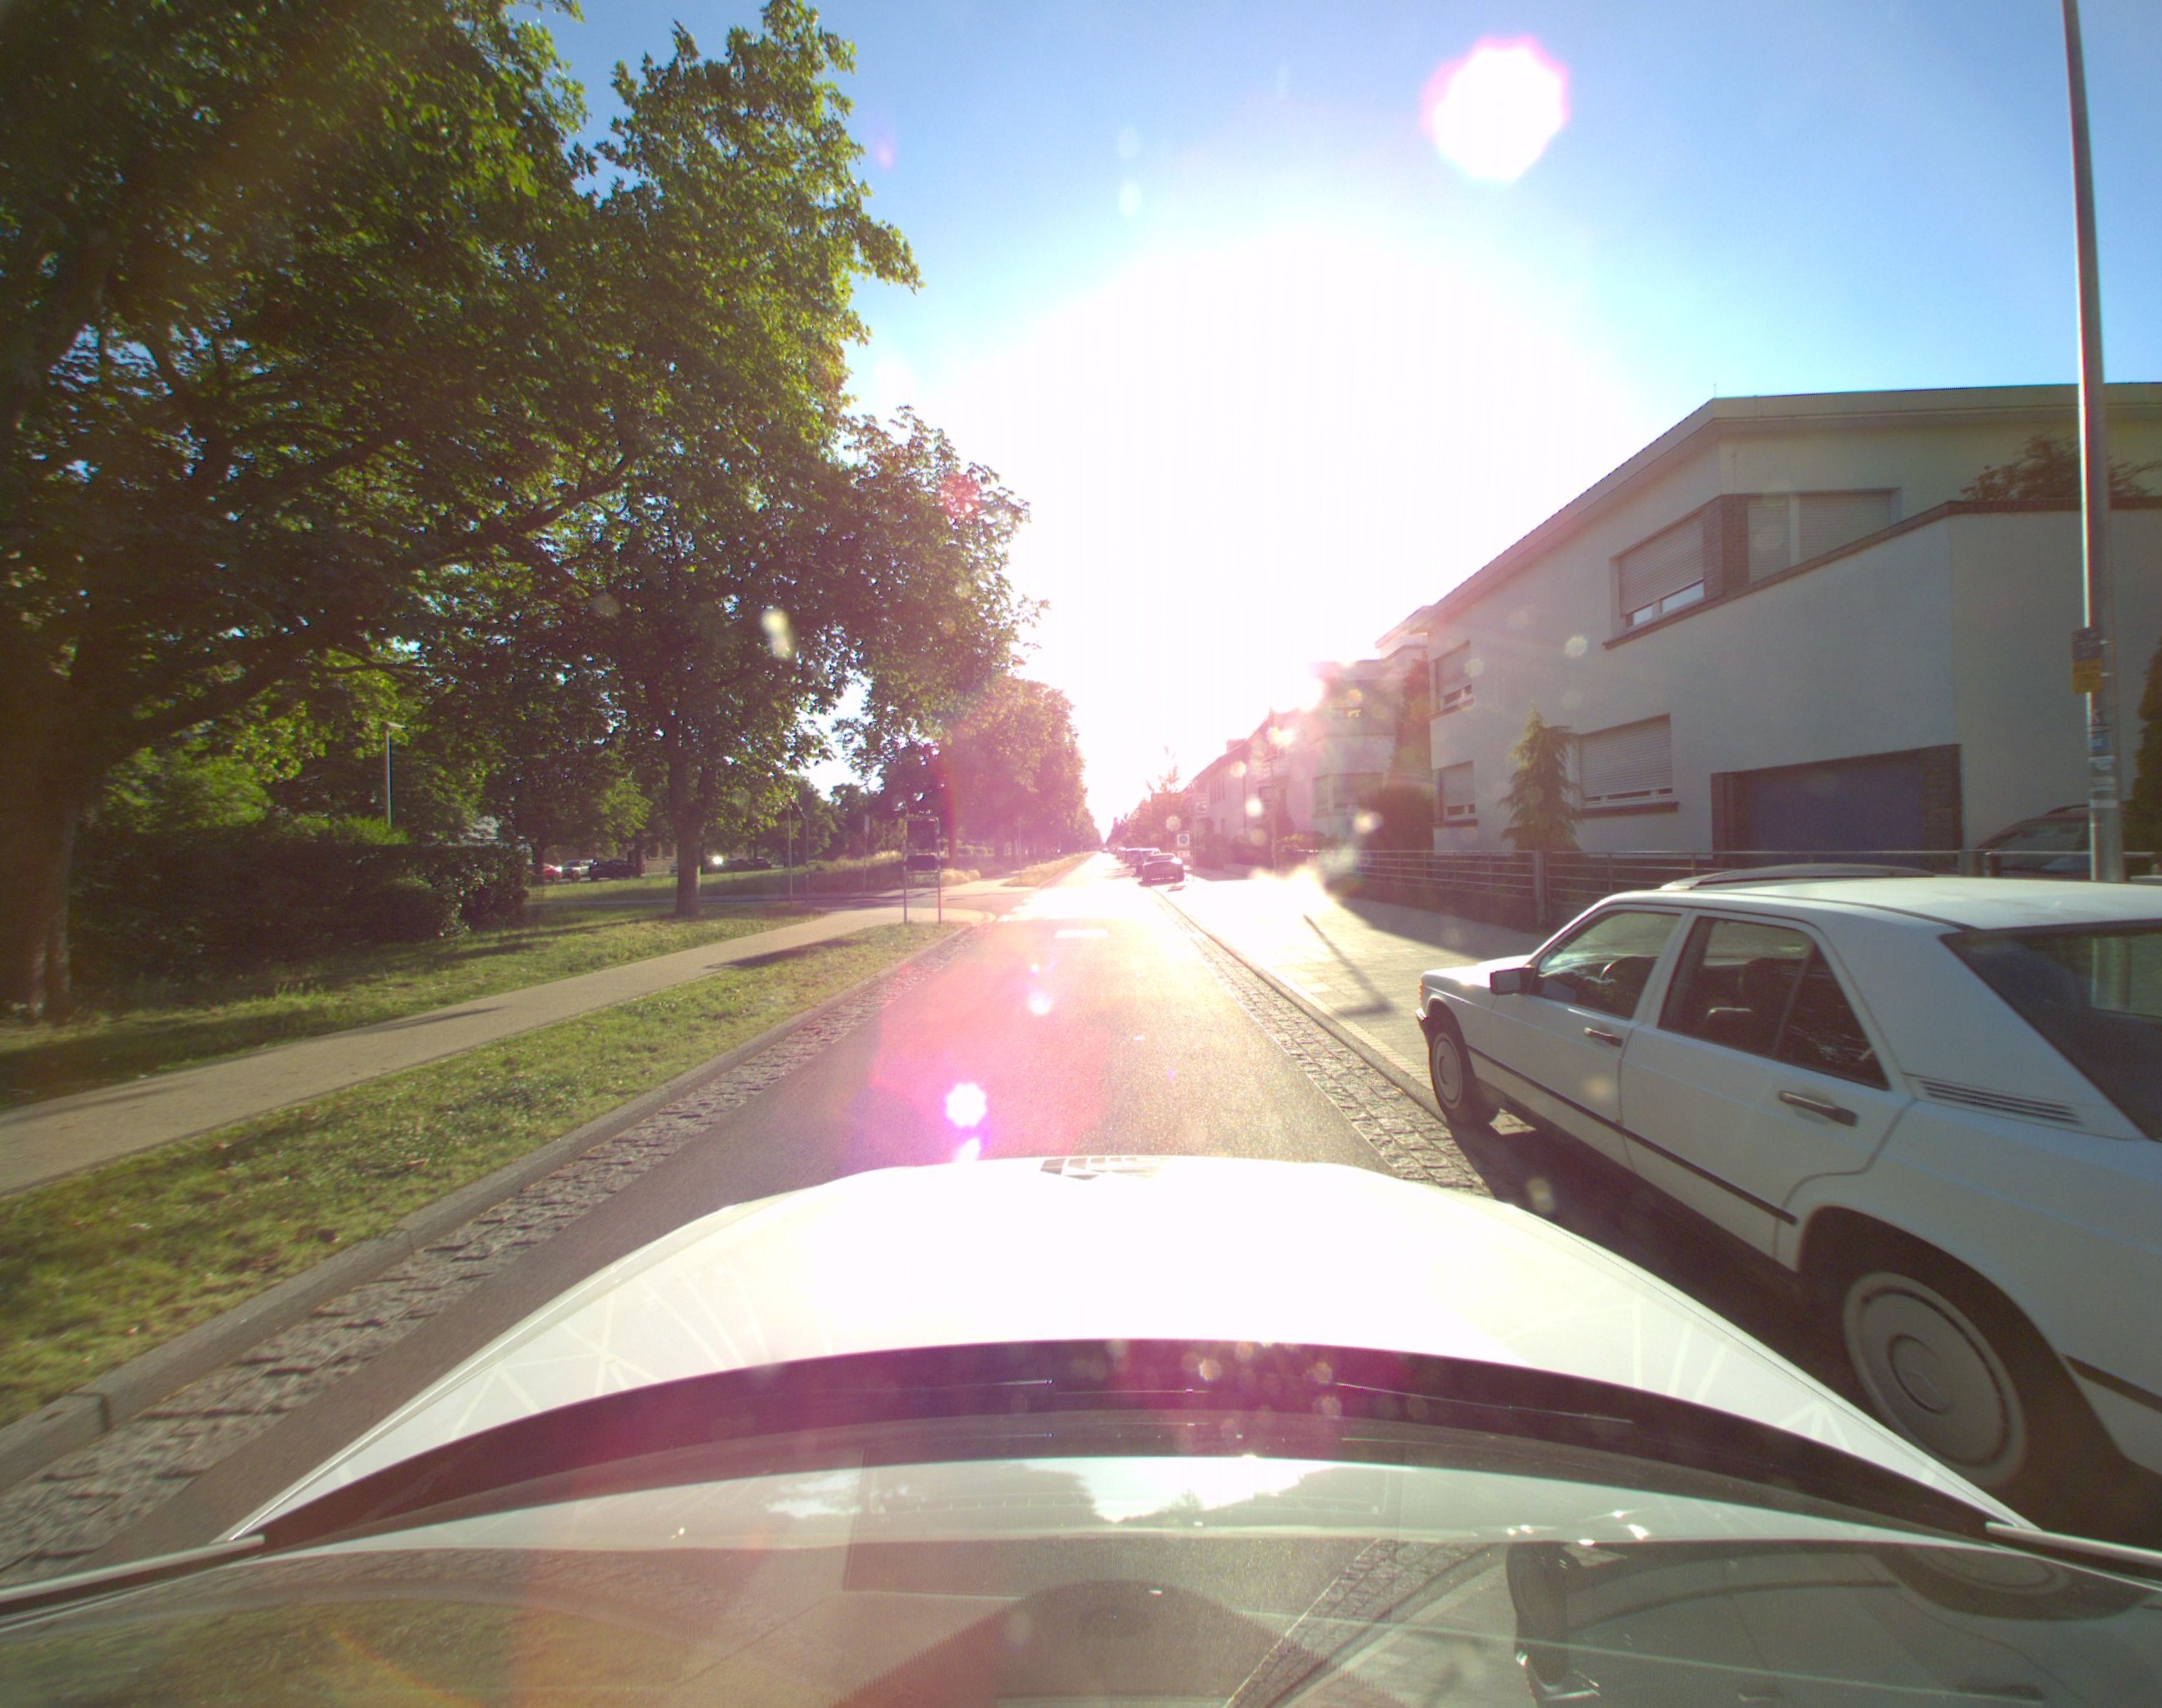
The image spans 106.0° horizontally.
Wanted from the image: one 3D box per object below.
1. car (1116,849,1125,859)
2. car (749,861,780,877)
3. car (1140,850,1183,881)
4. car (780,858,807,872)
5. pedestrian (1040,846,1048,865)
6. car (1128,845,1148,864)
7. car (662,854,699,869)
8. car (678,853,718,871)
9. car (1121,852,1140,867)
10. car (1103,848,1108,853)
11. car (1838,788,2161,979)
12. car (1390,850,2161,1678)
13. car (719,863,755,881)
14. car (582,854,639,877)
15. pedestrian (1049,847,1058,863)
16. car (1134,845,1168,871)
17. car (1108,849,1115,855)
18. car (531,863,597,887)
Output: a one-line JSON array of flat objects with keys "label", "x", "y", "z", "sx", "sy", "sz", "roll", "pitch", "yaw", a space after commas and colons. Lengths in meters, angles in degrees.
[{"label": "car", "x": 6.703, "y": -0.042, "z": 138.500, "sx": 1.492, "sy": 1.567, "sz": 3.269, "roll": -2, "pitch": 0, "yaw": 3}, {"label": "car", "x": -34.157, "y": 1.550, "z": 87.994, "sx": 1.686, "sy": 1.597, "sz": 4.222, "roll": -1, "pitch": 0, "yaw": 1}, {"label": "car", "x": 3.873, "y": 0.518, "z": 39.932, "sx": 1.768, "sy": 1.288, "sz": 4.275, "roll": -4, "pitch": 1, "yaw": 2}, {"label": "car", "x": -34.549, "y": 1.339, "z": 98.097, "sx": 1.686, "sy": 1.597, "sz": 4.222, "roll": -1, "pitch": 0, "yaw": 1}, {"label": "pedestrian", "x": -3.766, "y": 0.135, "z": 82.602, "sx": 0.621, "sy": 1.831, "sz": 0.887, "roll": -1, "pitch": 0, "yaw": 5}, {"label": "car", "x": 4.942, "y": 0.022, "z": 71.253, "sx": 1.621, "sy": 1.504, "sz": 3.635, "roll": -3, "pitch": 1, "yaw": 2}, {"label": "car", "x": -40.316, "y": 0.776, "z": 82.130, "sx": 1.623, "sy": 1.405, "sz": 4.001, "roll": -1, "pitch": 0, "yaw": 1}, {"label": "car", "x": -35.635, "y": 0.739, "z": 75.855, "sx": 1.686, "sy": 1.597, "sz": 4.222, "roll": -1, "pitch": 0, "yaw": 1}, {"label": "car", "x": 5.295, "y": 0.564, "z": 87.681, "sx": 1.731, "sy": 1.449, "sz": 4.197, "roll": -3, "pitch": 0, "yaw": 0}, {"label": "car", "x": 7.400, "y": -1.095, "z": 246.173, "sx": 1.646, "sy": 1.541, "sz": 3.268, "roll": 0, "pitch": 0, "yaw": 2}, {"label": "car", "x": 9.790, "y": 0.242, "z": 7.741, "sx": 3.472, "sy": 1.641, "sz": 1.647, "roll": -1, "pitch": 0, "yaw": 9}, {"label": "car", "x": 2.721, "y": 0.717, "z": 3.052, "sx": 1.558, "sy": 1.390, "sz": 4.376, "roll": -3, "pitch": 0, "yaw": 2}, {"label": "car", "x": -34.552, "y": 1.793, "z": 81.879, "sx": 1.686, "sy": 1.597, "sz": 4.222, "roll": -1, "pitch": 0, "yaw": 1}, {"label": "car", "x": -35.381, "y": 0.812, "z": 61.361, "sx": 1.686, "sy": 1.597, "sz": 4.222, "roll": -1, "pitch": 0, "yaw": 1}, {"label": "pedestrian", "x": -2.765, "y": 0.082, "z": 83.068, "sx": 0.779, "sy": 1.614, "sz": 0.953, "roll": -1, "pitch": 0, "yaw": 5}, {"label": "car", "x": 4.379, "y": 0.221, "z": 51.120, "sx": 1.738, "sy": 1.474, "sz": 3.922, "roll": -4, "pitch": 0, "yaw": 1}, {"label": "car", "x": 7.529, "y": -0.436, "z": 201.334, "sx": 1.645, "sy": 1.541, "sz": 3.269, "roll": 0, "pitch": 0, "yaw": 3}, {"label": "car", "x": -34.323, "y": 1.358, "z": 54.233, "sx": 1.687, "sy": 1.476, "sz": 4.221, "roll": -1, "pitch": 0, "yaw": 0}]
